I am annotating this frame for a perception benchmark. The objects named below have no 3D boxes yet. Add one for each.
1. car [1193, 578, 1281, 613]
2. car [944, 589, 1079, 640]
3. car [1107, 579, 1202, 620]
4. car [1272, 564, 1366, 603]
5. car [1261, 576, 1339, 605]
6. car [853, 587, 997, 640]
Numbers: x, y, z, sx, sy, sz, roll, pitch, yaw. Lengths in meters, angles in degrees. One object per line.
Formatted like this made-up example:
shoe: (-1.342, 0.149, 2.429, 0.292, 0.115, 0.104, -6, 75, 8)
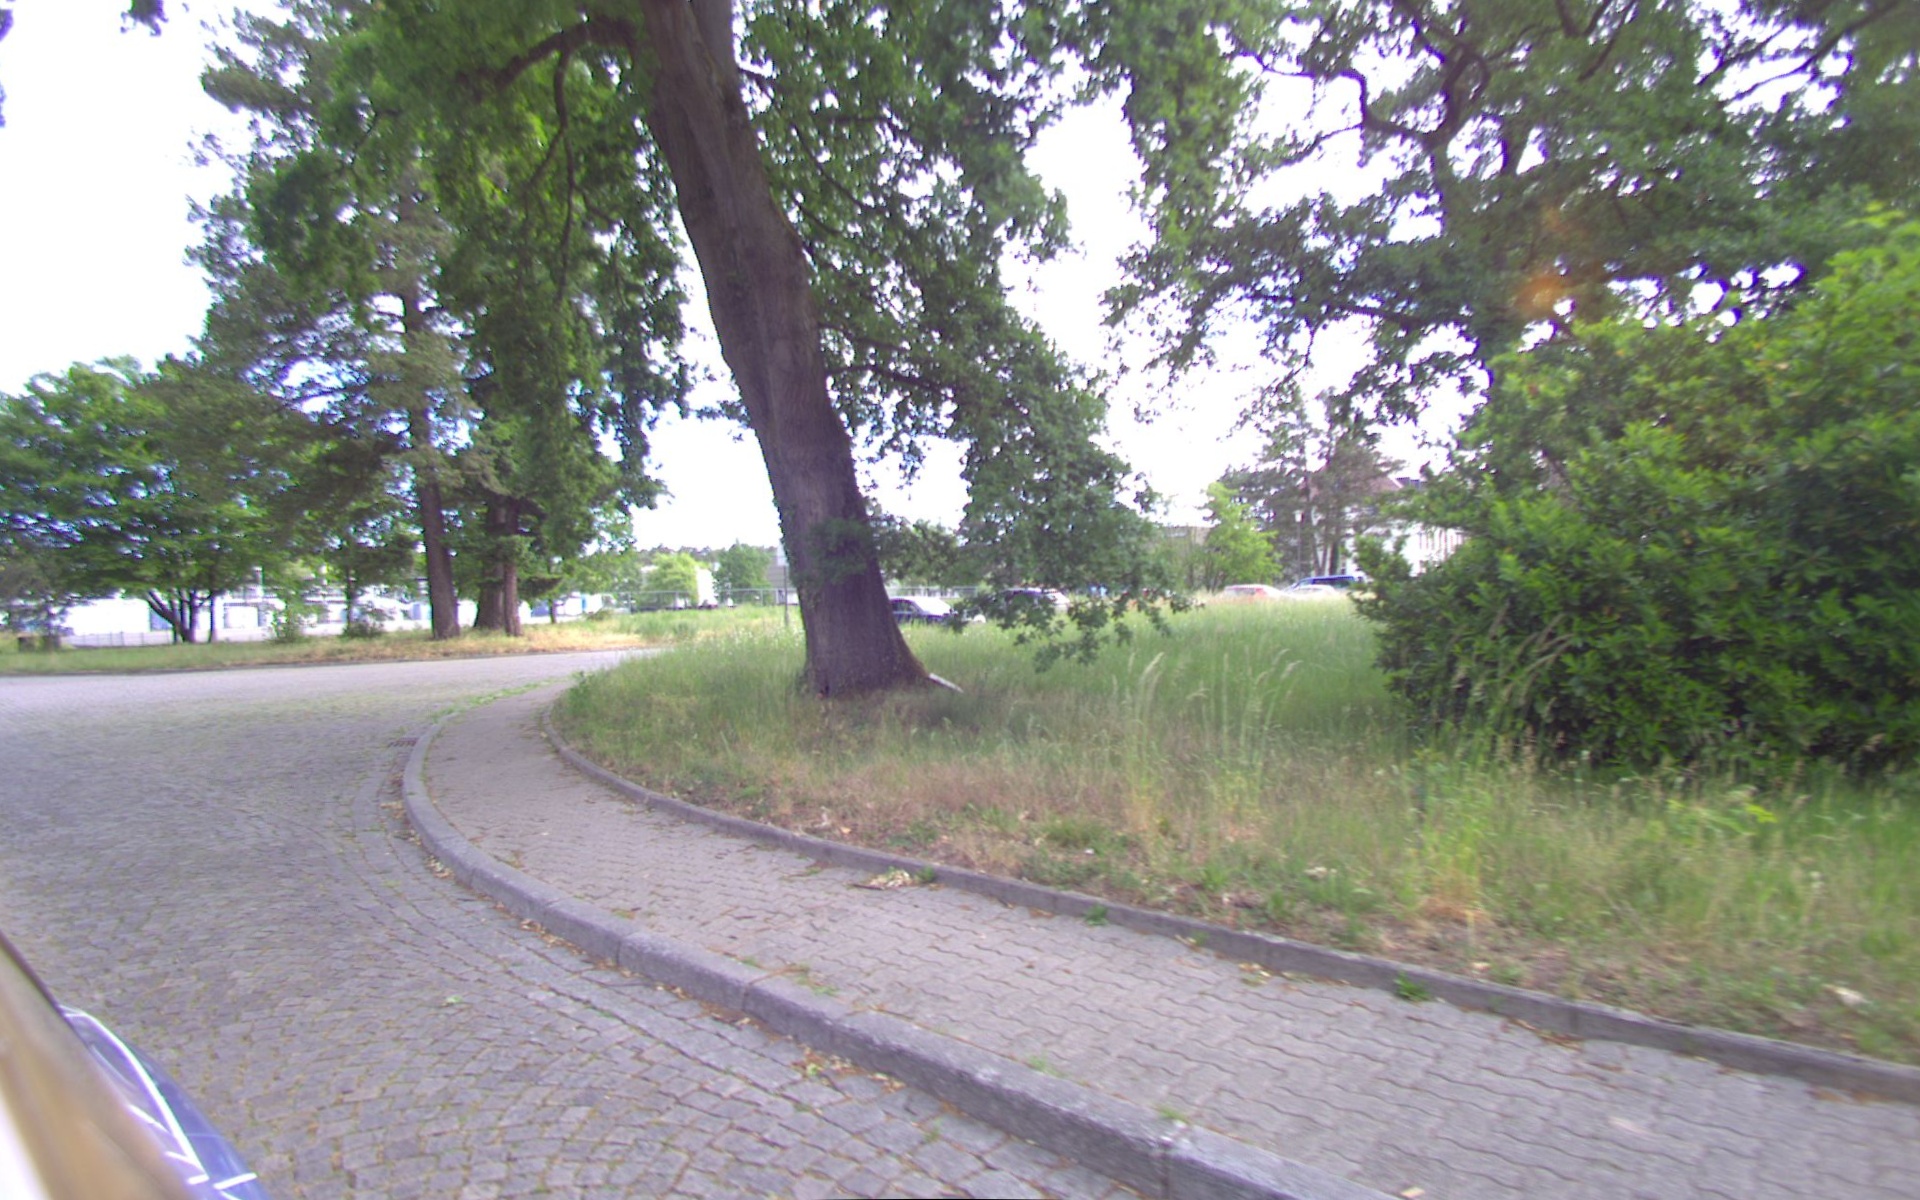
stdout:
car: (13.071, -0.185, 47.835, 3.659, 1.432, 1.557, -3, -1, 39)
car: (1.705, 0.513, 34.291, 4.361, 1.574, 1.741, -3, 0, 39)
car: (8.073, -0.007, 42.162, 3.496, 1.493, 1.581, -3, -1, 39)
car: (20.120, -0.917, 56.797, 4.540, 1.916, 1.770, -3, -1, 39)
car: (18.449, -0.510, 54.964, 3.691, 1.349, 1.563, -3, -1, 39)
car: (-1.119, 0.417, 30.464, 4.355, 1.415, 1.739, -3, 0, 43)
